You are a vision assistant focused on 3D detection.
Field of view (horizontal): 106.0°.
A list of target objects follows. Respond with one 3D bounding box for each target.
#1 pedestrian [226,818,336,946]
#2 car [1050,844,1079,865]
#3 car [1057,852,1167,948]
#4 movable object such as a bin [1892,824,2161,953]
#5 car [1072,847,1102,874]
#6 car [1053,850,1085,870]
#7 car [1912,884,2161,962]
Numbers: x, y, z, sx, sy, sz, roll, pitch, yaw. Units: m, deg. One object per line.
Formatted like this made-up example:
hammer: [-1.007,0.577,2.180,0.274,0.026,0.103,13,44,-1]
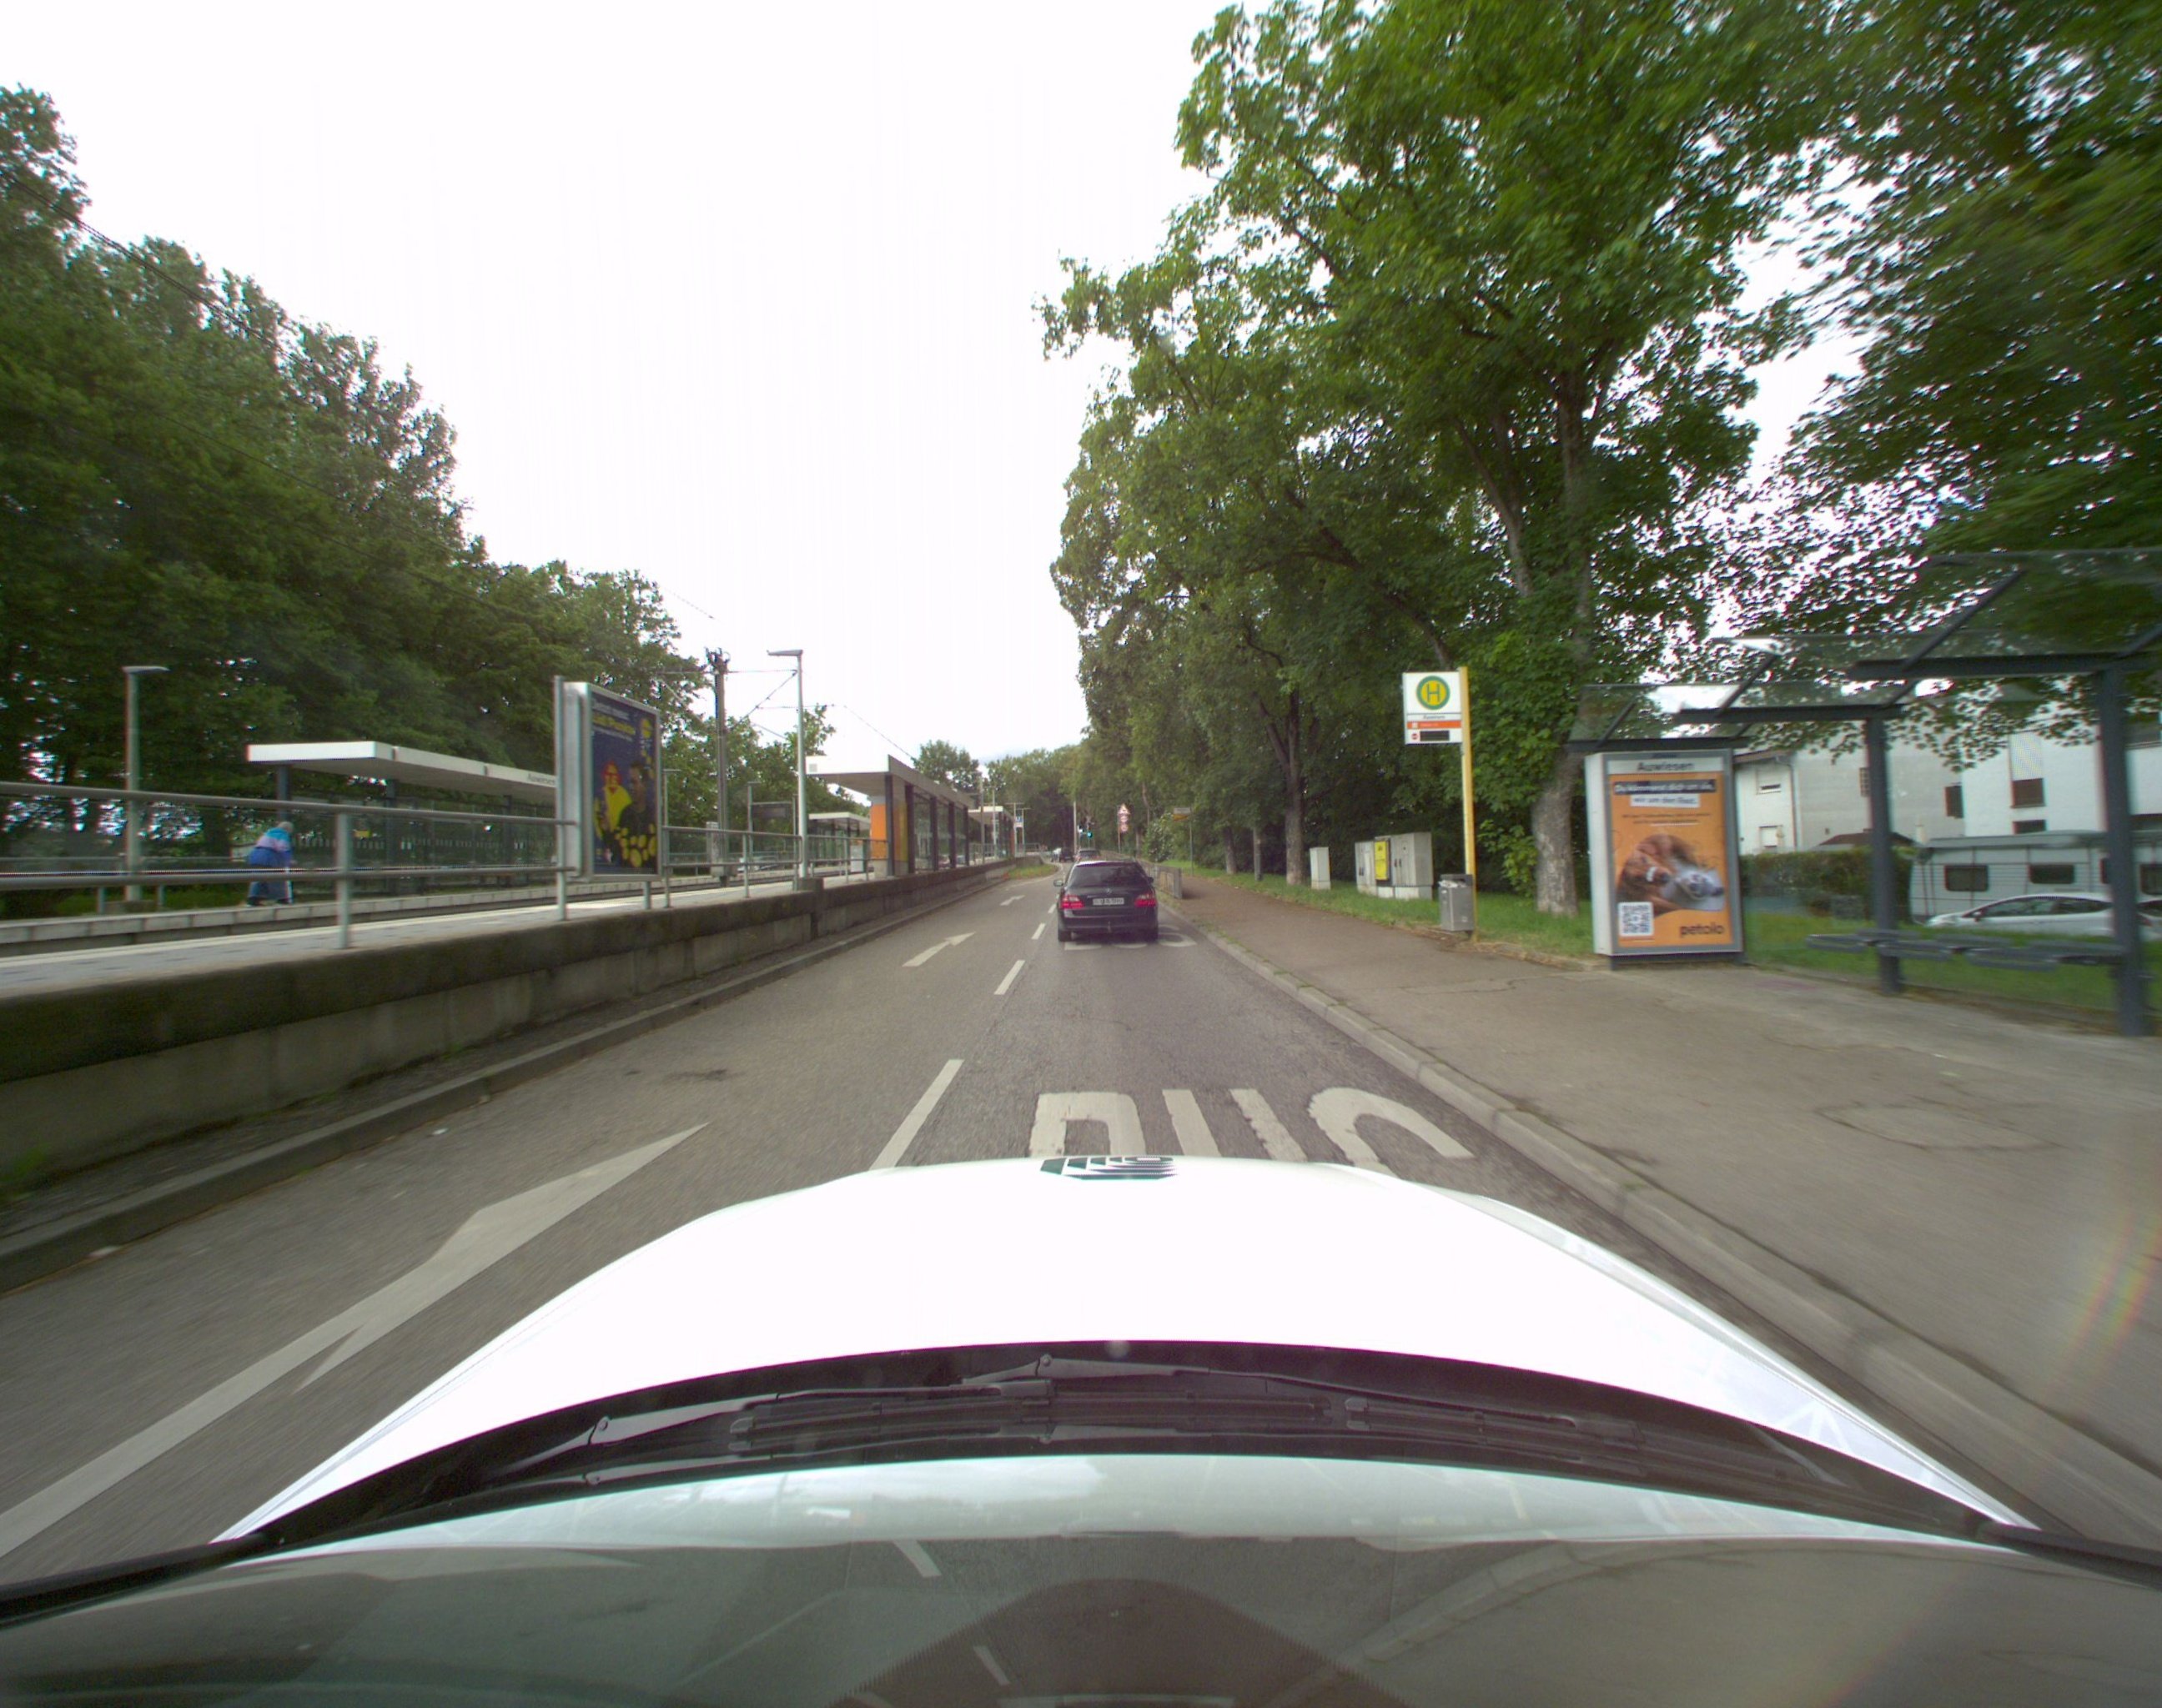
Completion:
pedestrian: [-14.251,0.490,14.541,0.966,2.186,0.976,-2,-1,1]
car: [-1.629,0.096,80.013,1.997,1.918,3.980,1,-1,-14]
car: [0.458,0.754,15.518,1.777,1.525,3.997,-1,0,-2]
movable object such as a bin: [22.655,0.737,18.353,1.992,2.623,6.254,0,-1,-8]
car: [0.375,0.425,54.770,1.778,1.648,3.995,-1,0,-3]
car: [-0.976,0.448,64.020,1.993,1.399,3.988,-2,1,-9]
car: [20.478,1.362,17.282,1.478,1.386,3.826,1,-1,-10]
